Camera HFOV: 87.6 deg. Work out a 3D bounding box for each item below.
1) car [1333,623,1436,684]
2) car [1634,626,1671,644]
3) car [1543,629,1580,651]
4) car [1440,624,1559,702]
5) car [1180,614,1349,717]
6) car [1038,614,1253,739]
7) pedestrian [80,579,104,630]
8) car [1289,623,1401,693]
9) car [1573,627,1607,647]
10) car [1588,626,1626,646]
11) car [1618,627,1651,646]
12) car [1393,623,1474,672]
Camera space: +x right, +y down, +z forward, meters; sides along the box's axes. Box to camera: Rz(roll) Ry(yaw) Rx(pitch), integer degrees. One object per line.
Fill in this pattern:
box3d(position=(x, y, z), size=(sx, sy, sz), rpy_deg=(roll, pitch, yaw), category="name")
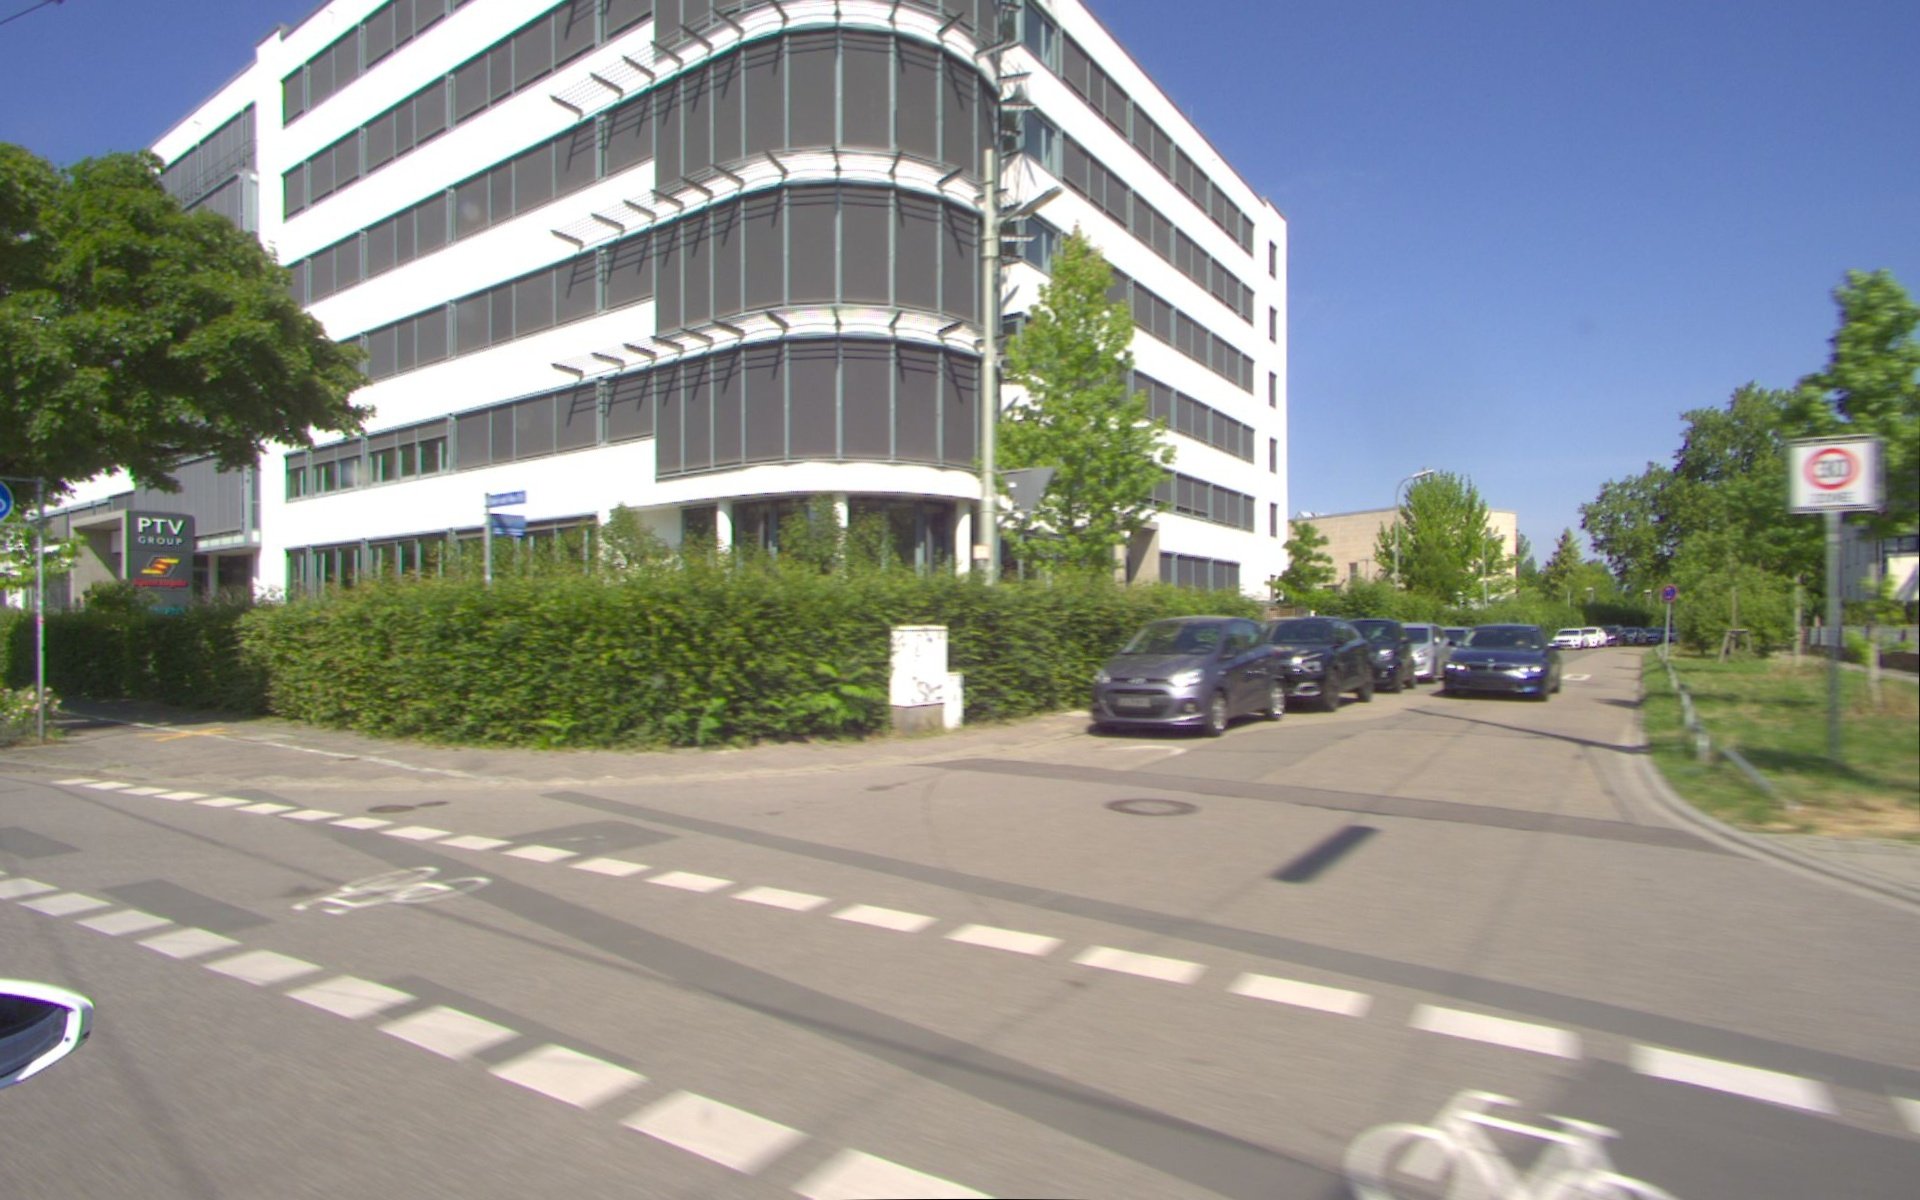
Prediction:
box3d(position=(10.998, 1.329, 25.829), size=(1.636, 1.444, 3.976), rpy_deg=(-1, -2, 36), category="car")
box3d(position=(57.923, 2.935, 83.750), size=(3.958, 1.444, 1.643), rpy_deg=(2, -2, -41), category="car")
box3d(position=(41.490, 2.743, 69.000), size=(1.638, 1.444, 3.970), rpy_deg=(-1, -2, 40), category="car")
box3d(position=(10.895, 1.199, 20.114), size=(1.649, 1.406, 3.735), rpy_deg=(-1, -2, 36), category="car")
box3d(position=(5.389, 1.060, 17.402), size=(1.636, 1.567, 3.976), rpy_deg=(-1, -2, 36), category="car")
box3d(position=(2.676, 0.963, 13.834), size=(1.571, 1.492, 3.583), rpy_deg=(-1, -2, 36), category="car")
box3d(position=(-30.443, 0.172, 35.109), size=(0.539, 1.750, 0.497), rpy_deg=(-1, -1, 35), category="pedestrian")
box3d(position=(8.487, 1.222, 21.976), size=(1.636, 1.429, 2.897), rpy_deg=(-1, -2, 36), category="car")
box3d(position=(46.439, 2.731, 73.801), size=(1.638, 1.444, 3.970), rpy_deg=(-1, -2, 40), category="car")
box3d(position=(50.146, 2.784, 77.619), size=(3.962, 1.444, 1.642), rpy_deg=(2, -2, -44), category="car")
box3d(position=(54.316, 2.913, 80.623), size=(1.640, 1.444, 3.967), rpy_deg=(-1, -2, 42), category="car")
box3d(position=(15.003, 1.455, 31.634), size=(1.636, 1.444, 3.976), rpy_deg=(-1, -2, 36), category="car")
